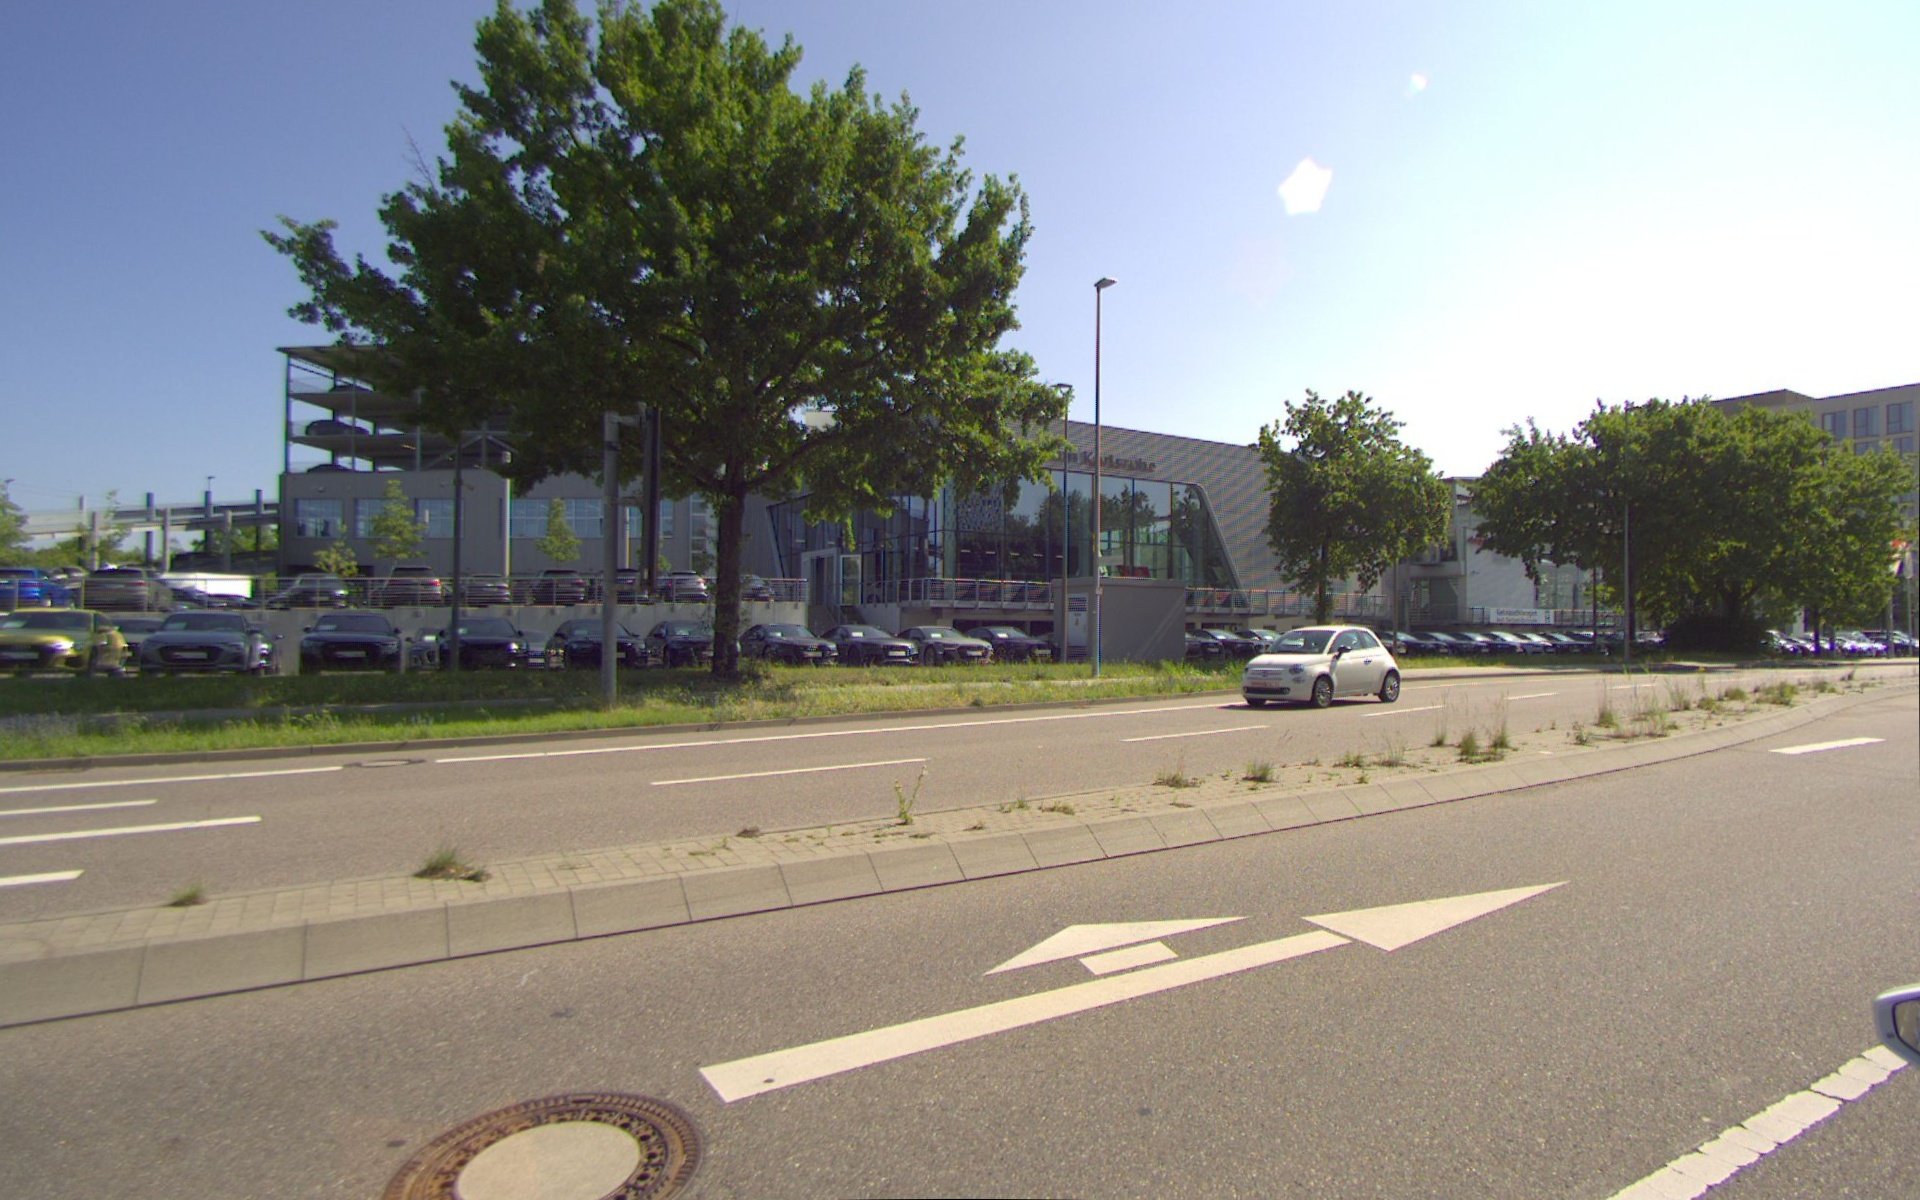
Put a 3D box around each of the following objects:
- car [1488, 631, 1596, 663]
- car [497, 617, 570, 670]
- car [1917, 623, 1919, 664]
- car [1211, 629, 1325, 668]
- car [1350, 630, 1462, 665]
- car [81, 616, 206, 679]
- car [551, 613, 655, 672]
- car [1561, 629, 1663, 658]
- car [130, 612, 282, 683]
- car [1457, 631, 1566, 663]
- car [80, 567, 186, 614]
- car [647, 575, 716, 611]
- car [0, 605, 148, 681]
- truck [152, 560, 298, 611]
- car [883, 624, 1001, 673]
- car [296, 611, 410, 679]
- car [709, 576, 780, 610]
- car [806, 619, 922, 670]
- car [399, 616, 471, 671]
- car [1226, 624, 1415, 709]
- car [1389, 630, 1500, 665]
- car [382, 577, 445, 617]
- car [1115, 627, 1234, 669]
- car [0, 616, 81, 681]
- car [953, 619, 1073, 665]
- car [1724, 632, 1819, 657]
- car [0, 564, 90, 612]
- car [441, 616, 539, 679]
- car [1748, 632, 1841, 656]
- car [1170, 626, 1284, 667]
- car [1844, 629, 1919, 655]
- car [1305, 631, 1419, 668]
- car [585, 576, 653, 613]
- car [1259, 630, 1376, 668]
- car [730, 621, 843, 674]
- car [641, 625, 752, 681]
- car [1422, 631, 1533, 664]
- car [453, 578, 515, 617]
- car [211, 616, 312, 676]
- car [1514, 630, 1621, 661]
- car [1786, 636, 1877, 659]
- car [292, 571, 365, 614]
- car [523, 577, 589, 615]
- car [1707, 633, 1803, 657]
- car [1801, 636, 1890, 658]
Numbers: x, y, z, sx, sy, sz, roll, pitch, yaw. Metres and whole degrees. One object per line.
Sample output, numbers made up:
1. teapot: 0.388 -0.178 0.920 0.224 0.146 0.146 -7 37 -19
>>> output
1. car: 27.048 2.142 46.767 1.901 1.394 3.969 1 -2 -30
2. car: -14.516 1.436 34.053 1.929 1.664 4.249 1 -2 -28
3. car: 45.058 1.961 45.097 4.884 1.857 1.982 1 -2 -33
4. car: 11.567 1.805 37.974 1.843 1.394 3.969 1 -2 -30
5. car: 18.568 1.945 41.995 1.901 1.394 3.969 1 -2 -30
6. car: -23.164 1.308 28.673 1.929 1.664 4.249 1 -2 -28
7. car: -9.184 1.048 25.625 1.929 1.368 4.249 1 -2 -28
8. car: 33.330 2.202 51.461 1.901 1.394 3.969 1 -2 -30
9. car: -15.993 0.965 21.546 1.929 1.368 4.249 1 -2 -28
10. car: 25.045 2.106 45.706 1.901 1.394 3.969 1 -2 -30
11. car: -27.069 -0.262 33.026 1.930 1.368 4.247 1 -2 -29
12. car: -11.959 -0.261 42.953 1.930 1.368 4.247 1 -2 -29
13. car: -18.115 0.829 20.206 1.929 1.368 4.249 1 -2 -28
14. truck: -47.243 -0.822 65.013 2.612 2.955 8.468 0 -2 5
15. car: -0.634 1.432 30.743 1.929 1.368 4.249 1 -2 -28
16. car: -13.591 0.971 22.719 1.929 1.368 4.249 1 -2 -28
17. car: -9.581 -0.277 44.415 1.930 1.368 4.247 1 -2 -29
18. car: -2.908 1.265 29.472 1.929 1.368 4.249 1 -2 -28
19. car: -17.070 1.366 32.669 1.929 1.664 4.249 1 -2 -28
20. car: 6.946 1.246 19.306 3.513 1.483 1.644 1 -3 -34
21. car: 20.808 2.022 43.276 1.901 1.394 3.969 1 -2 -30
22. car: -20.260 -0.063 37.225 1.930 1.368 4.247 1 -2 -29
23. car: 7.503 1.642 35.421 1.976 1.394 3.969 1 -2 -30
24. car: -25.794 1.267 27.248 1.929 1.664 4.249 1 -2 -28
25. car: 1.597 1.306 32.019 1.929 1.368 4.249 1 -2 -28
26. car: 48.060 2.620 59.570 1.977 1.361 3.967 1 -2 -31
27. car: -29.402 -0.329 31.793 1.930 1.368 4.247 1 -2 -29
28. car: -11.434 1.095 24.281 1.929 1.368 4.249 1 -2 -28
29. car: 50.632 2.650 61.020 1.978 1.361 3.965 1 -2 -32
30. car: 9.761 1.673 36.963 1.843 1.394 3.969 1 -2 -30
31. car: 76.640 3.468 83.129 1.976 2.077 4.894 1 -2 -29
32. car: 16.223 1.972 40.698 1.901 1.394 3.969 1 -2 -30
33. car: -13.988 -0.174 41.079 1.930 1.368 4.247 1 -2 -29
34. car: 13.966 1.872 39.471 2.001 1.394 4.023 1 -2 -30
35. car: -4.939 1.285 28.152 1.929 1.368 4.249 1 -2 -28
36. car: -7.077 1.348 26.686 1.929 1.368 4.249 1 -2 -28
37. car: 22.849 2.064 44.484 1.901 1.394 3.969 1 -2 -30
38. car: -18.584 -0.062 39.119 1.930 1.368 4.247 1 -2 -29
39. car: -20.711 1.323 29.947 1.929 1.664 4.249 1 -2 -28
40. car: 28.880 2.153 47.862 1.901 1.394 3.969 1 -2 -30
41. car: 55.276 3.009 63.766 1.977 1.361 3.967 1 -2 -31
42. car: -22.415 -0.210 35.774 1.930 1.368 4.247 1 -2 -29
43. car: -16.078 -0.122 39.853 1.930 1.368 4.247 1 -2 -29
44. car: 46.133 2.588 58.340 1.977 1.361 3.967 1 -2 -31
45. car: 57.273 3.030 65.030 1.977 1.361 3.967 1 -2 -31
